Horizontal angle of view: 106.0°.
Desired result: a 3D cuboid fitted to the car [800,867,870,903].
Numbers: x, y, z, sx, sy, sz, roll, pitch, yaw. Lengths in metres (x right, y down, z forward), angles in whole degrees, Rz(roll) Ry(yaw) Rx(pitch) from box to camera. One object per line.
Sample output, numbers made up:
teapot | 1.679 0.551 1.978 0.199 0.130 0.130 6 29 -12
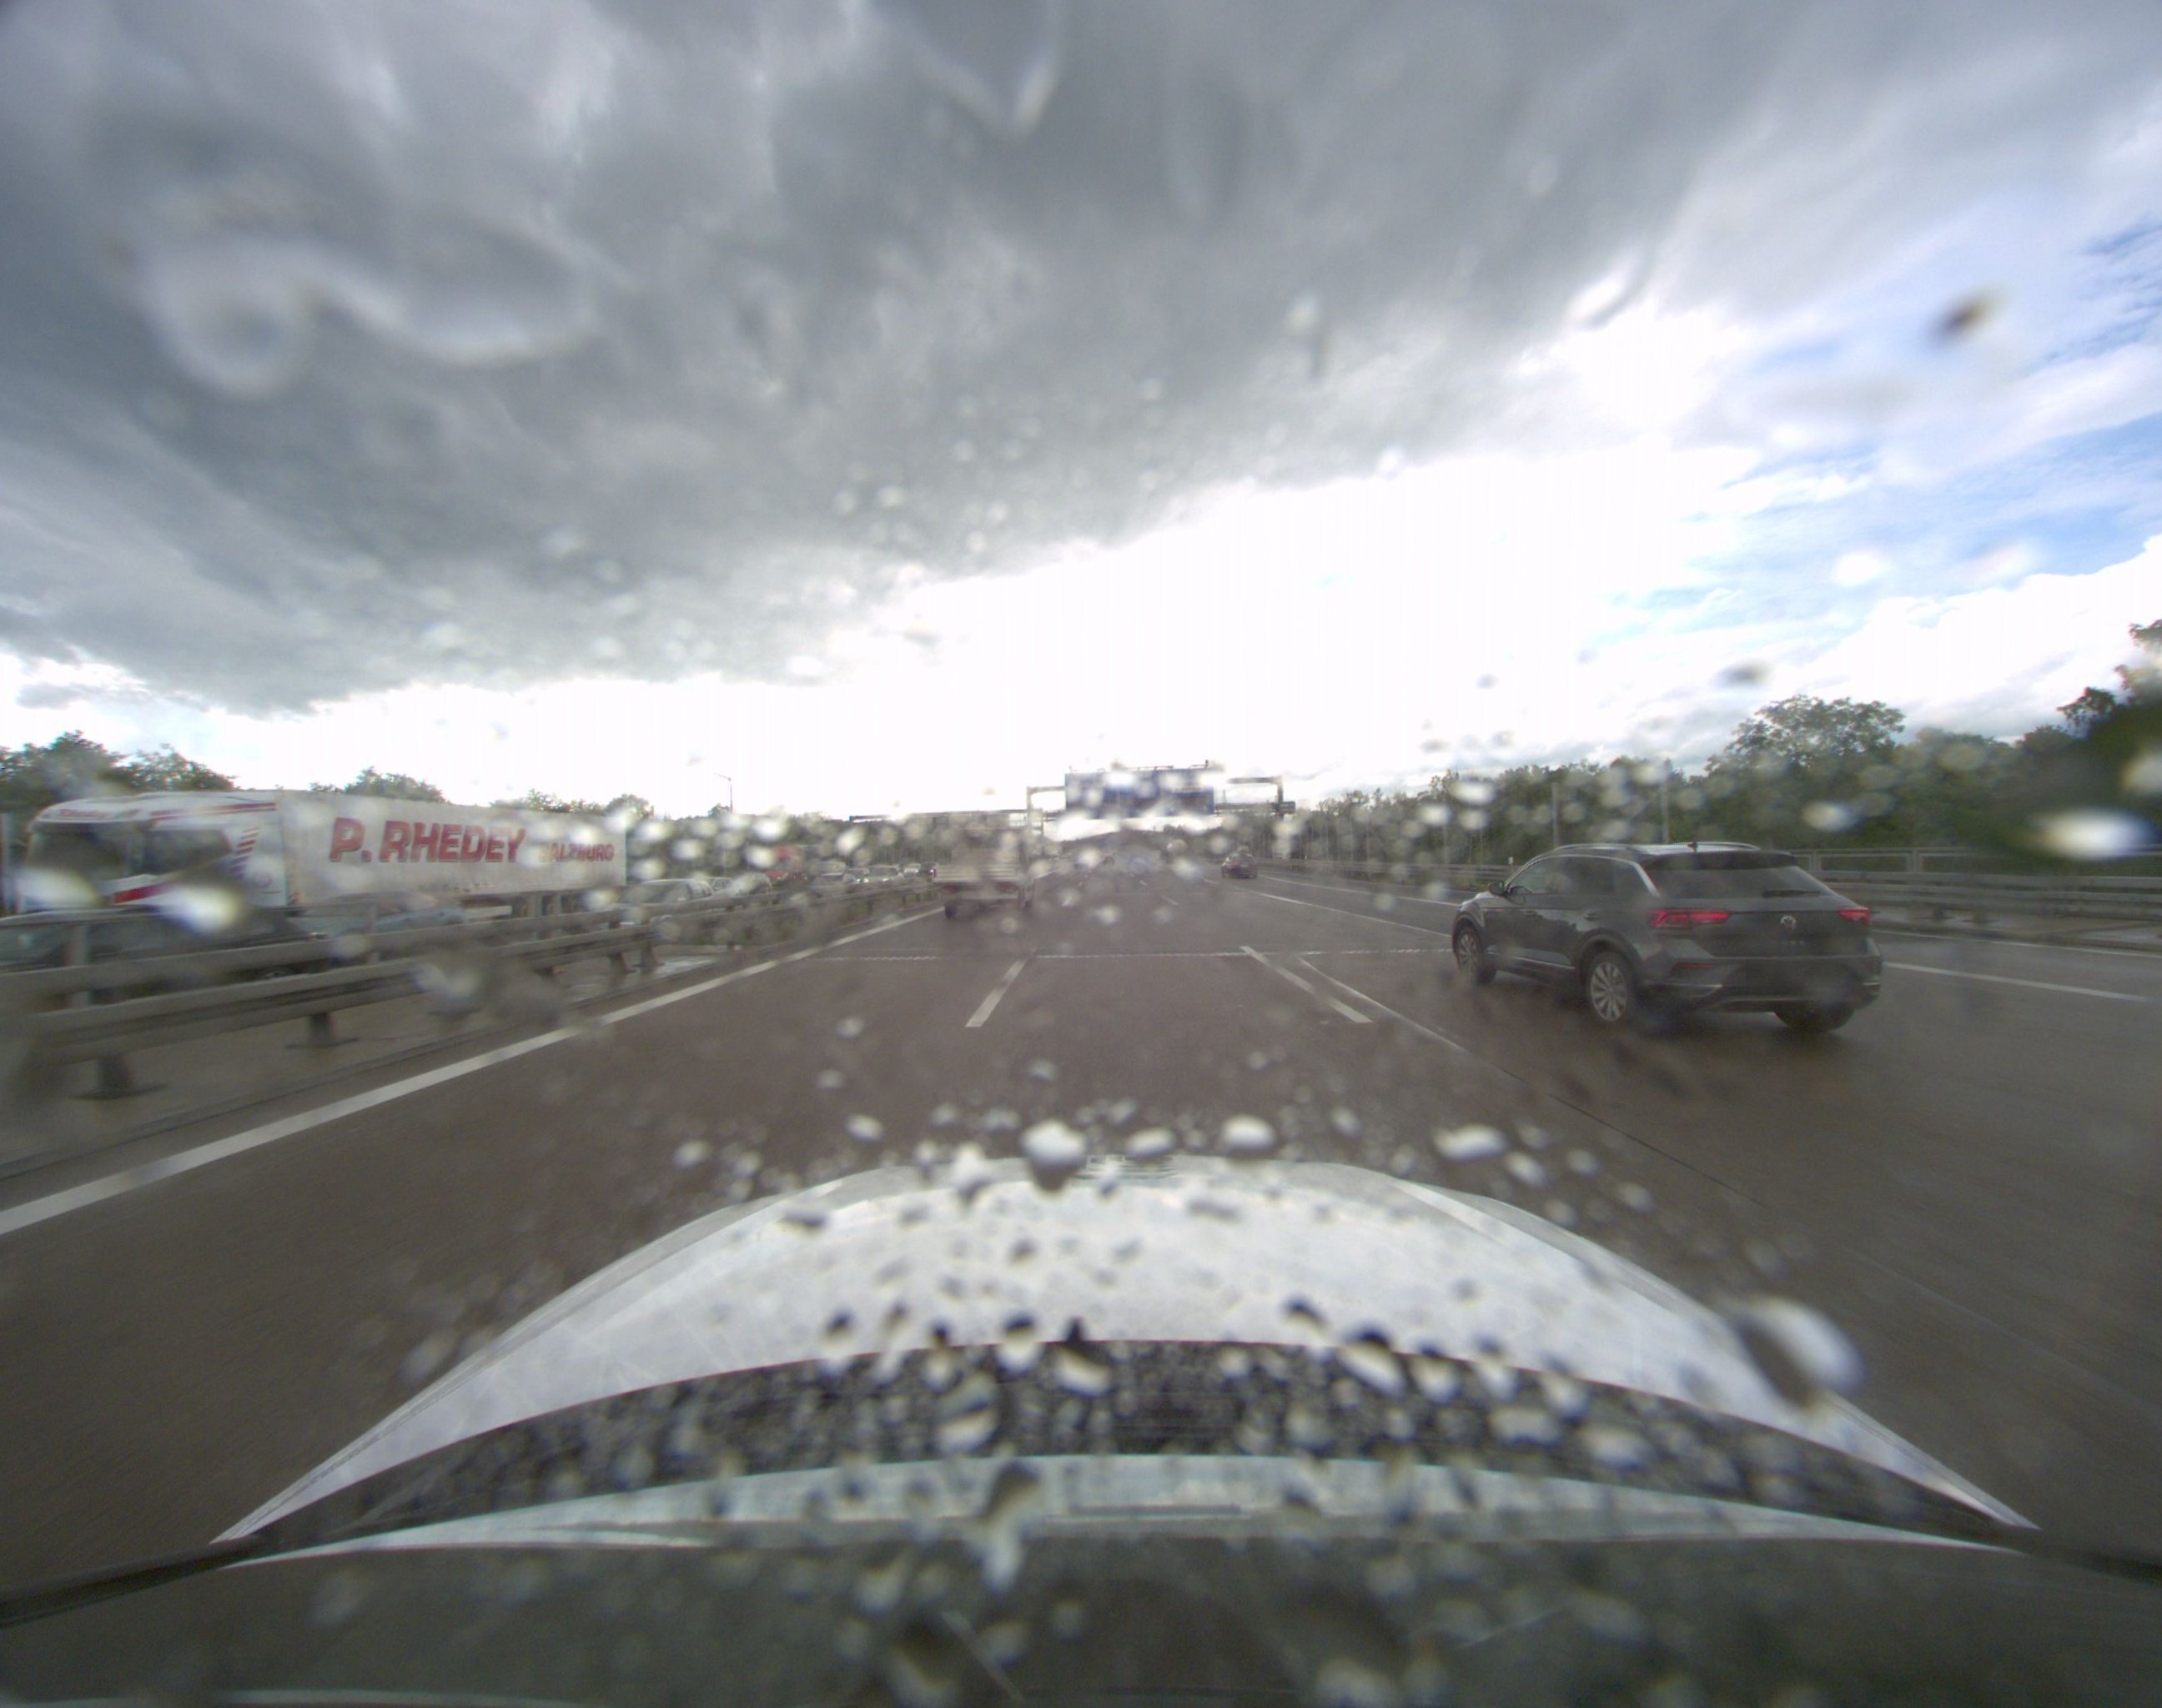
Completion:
car | -11.477 1.401 38.287 1.639 1.440 4.732 -2 1 2

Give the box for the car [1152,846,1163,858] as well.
car | 16.528 -0.515 176.785 2.037 2.498 4.002 -1 0 2

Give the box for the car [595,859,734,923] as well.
car | -11.810 0.981 23.430 1.785 1.619 4.002 -1 0 2

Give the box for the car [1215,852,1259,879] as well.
car | 10.017 0.736 52.565 2.096 1.606 5.070 -1 -1 3

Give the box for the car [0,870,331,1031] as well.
car | -12.230 1.077 10.093 1.785 1.619 4.285 -1 0 2

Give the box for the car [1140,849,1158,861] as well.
car | 9.507 0.140 114.372 2.092 1.699 3.998 -1 0 -2

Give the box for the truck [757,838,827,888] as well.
truck | -22.223 0.613 63.125 2.455 3.536 7.809 -2 0 1

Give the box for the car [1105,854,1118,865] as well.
car | 4.867 0.814 130.229 2.038 1.699 4.001 -1 0 1

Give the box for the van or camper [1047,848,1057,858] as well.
van or camper | -6.611 -0.224 186.214 2.087 2.186 4.973 -1 0 2

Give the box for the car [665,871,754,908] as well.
car | -16.034 1.490 35.416 1.639 1.407 4.545 -1 0 2

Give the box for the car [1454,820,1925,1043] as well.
car | 5.151 0.554 7.631 1.784 1.562 3.725 -1 0 3

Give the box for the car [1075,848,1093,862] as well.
car | 0.392 0.118 100.007 2.037 1.699 4.002 -1 0 2

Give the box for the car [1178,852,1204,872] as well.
car | 10.381 0.735 76.950 2.036 1.699 5.011 -1 0 3

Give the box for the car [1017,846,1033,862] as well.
car | -11.884 -0.060 173.030 2.488 3.300 7.630 -1 0 2

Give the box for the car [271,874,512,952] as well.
car | -16.188 1.299 19.527 1.639 1.503 4.679 -1 0 2

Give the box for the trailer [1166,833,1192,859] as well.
trailer | 16.151 -1.308 135.272 3.320 4.175 11.844 -1 0 2

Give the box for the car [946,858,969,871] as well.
car | -14.367 1.168 94.883 1.883 1.340 4.565 -2 1 1

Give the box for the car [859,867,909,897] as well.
car | -12.260 1.710 50.996 1.866 1.647 4.723 -2 1 1

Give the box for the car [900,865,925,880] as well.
car | -18.328 2.015 88.800 1.615 1.447 4.417 -2 1 1

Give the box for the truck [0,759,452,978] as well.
truck | -20.042 0.252 19.838 3.167 4.194 7.739 -2 0 1

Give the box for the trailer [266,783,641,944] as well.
trailer | -19.942 0.189 27.671 3.175 4.194 11.959 -2 1 1

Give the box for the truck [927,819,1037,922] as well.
truck | -2.531 0.362 22.973 2.346 2.408 7.354 0 0 -1

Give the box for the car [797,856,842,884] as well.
car | -19.109 1.124 59.679 1.577 1.890 4.821 -2 1 1

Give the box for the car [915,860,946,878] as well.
car | -14.696 1.465 79.827 1.875 1.598 5.136 -2 1 1
